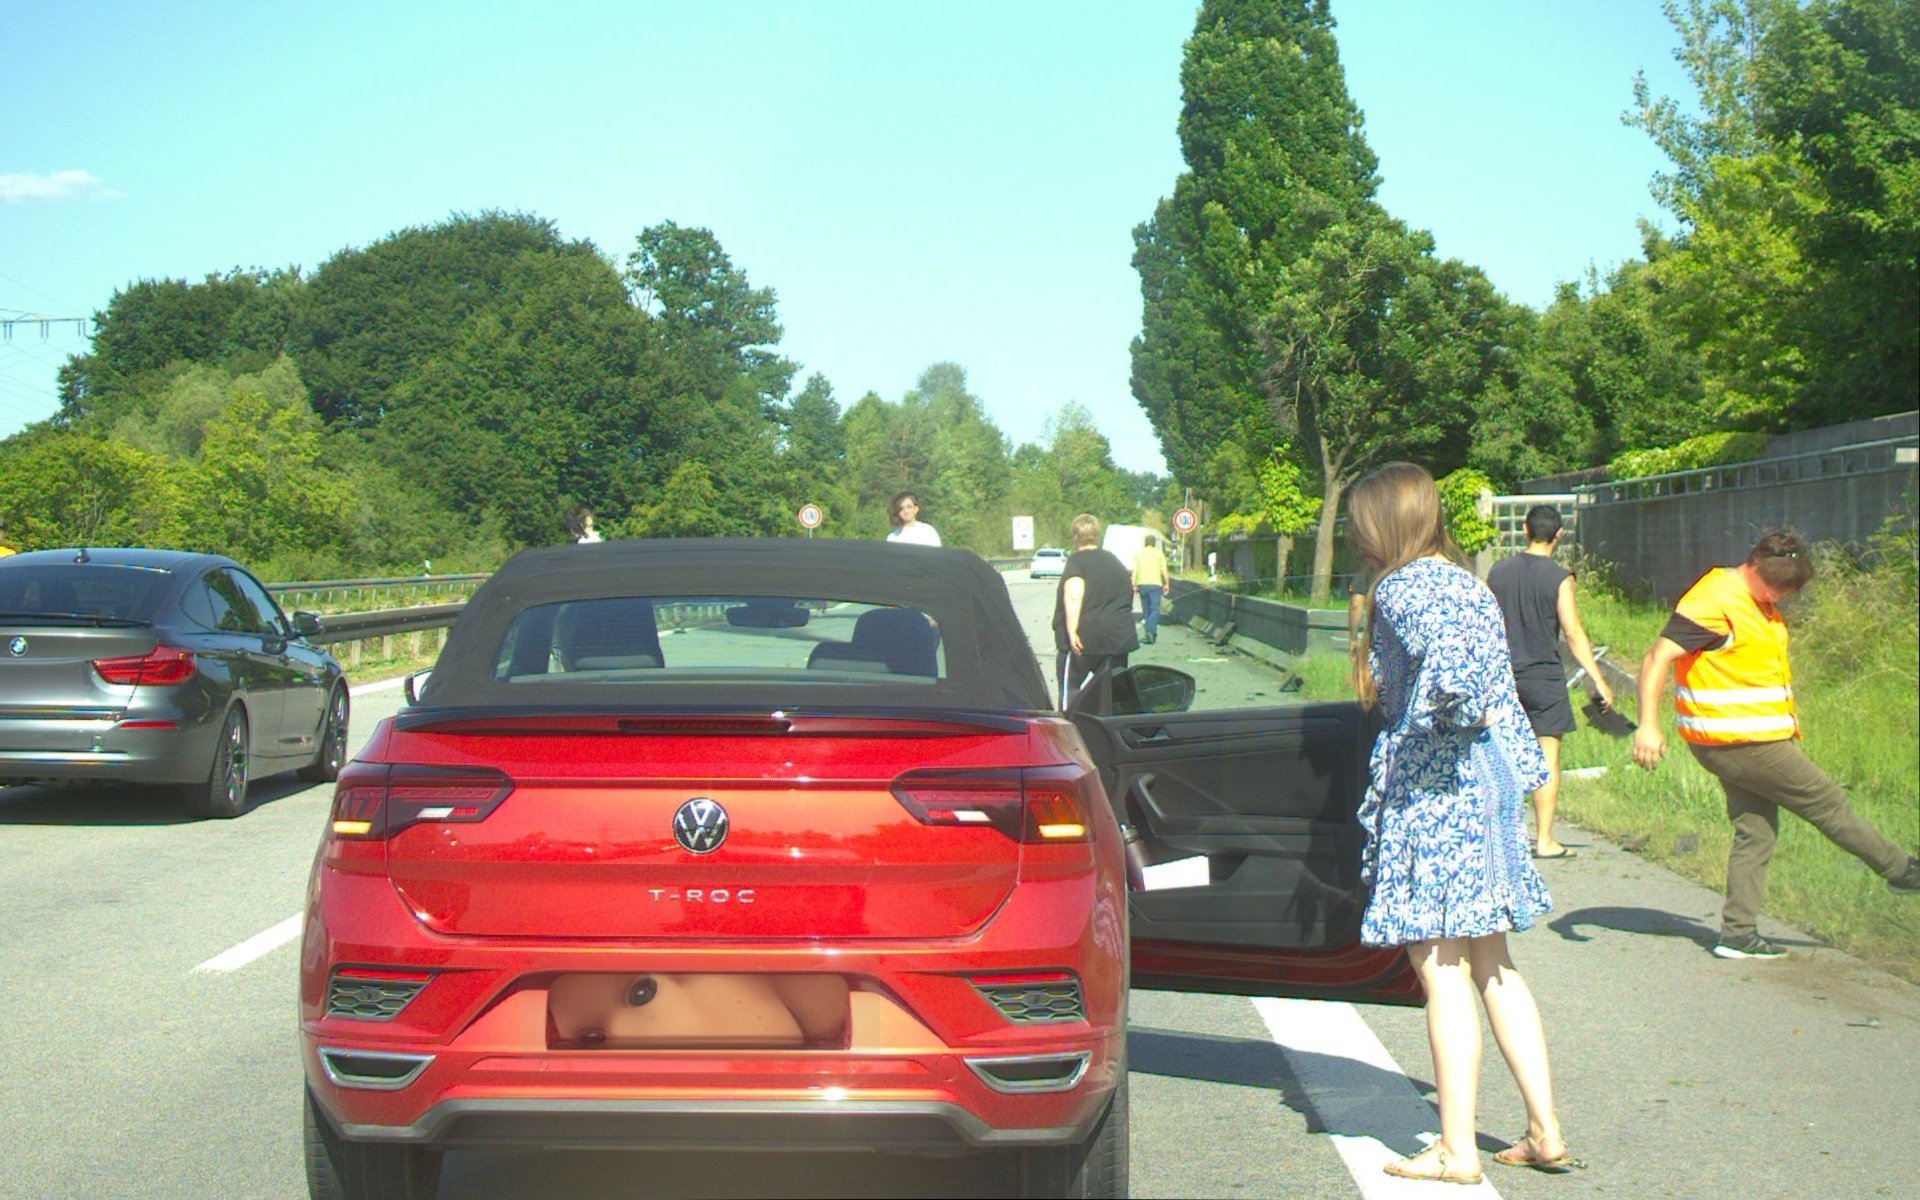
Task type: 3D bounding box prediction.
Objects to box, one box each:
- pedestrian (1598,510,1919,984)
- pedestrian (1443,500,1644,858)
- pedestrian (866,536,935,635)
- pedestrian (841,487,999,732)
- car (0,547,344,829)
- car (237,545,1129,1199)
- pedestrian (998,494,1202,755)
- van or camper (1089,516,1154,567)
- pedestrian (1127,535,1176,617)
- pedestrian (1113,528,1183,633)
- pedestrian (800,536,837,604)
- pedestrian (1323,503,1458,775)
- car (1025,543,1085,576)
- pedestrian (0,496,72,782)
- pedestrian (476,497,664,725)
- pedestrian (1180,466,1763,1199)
[{"bbox_3d":[3.008,0.506,12.517,1.275,1.648,0.960,-1,1,14],"label":"pedestrian"},{"bbox_3d":[2.873,0.378,17.001,0.895,1.719,0.754,1,0,5],"label":"pedestrian"},{"bbox_3d":[-1.029,-0.261,59.379,0.970,1.683,1.117,1,0,-13],"label":"pedestrian"},{"bbox_3d":[-0.334,0.060,27.598,1.105,1.906,1.257,-1,1,-7],"label":"pedestrian"},{"bbox_3d":[-4.804,0.420,19.849,1.694,1.421,4.334,1,1,0],"label":"car"},{"bbox_3d":[-0.534,0.615,8.821,1.732,1.482,4.210,1,1,0],"label":"car"},{"bbox_3d":[1.034,0.162,25.510,1.090,1.876,1.069,-1,1,-29],"label":"pedestrian"},{"bbox_3d":[7.572,-2.714,160.940,1.995,2.308,4.467,1,1,17],"label":"van or camper"},{"bbox_3d":[3.977,-0.498,71.320,0.996,1.683,1.010,1,0,4],"label":"pedestrian"},{"bbox_3d":[3.087,-0.323,56.322,1.056,1.683,1.017,1,0,7],"label":"pedestrian"},{"bbox_3d":[-3.517,-0.742,85.336,0.792,1.683,0.792,1,0,5],"label":"pedestrian"},{"bbox_3d":[2.856,0.249,22.762,0.812,1.753,0.828,1,0,10],"label":"pedestrian"},{"bbox_3d":[4.494,-1.915,162.049,1.734,1.482,4.207,1,1,17],"label":"car"},{"bbox_3d":[-6.316,0.235,21.739,1.041,1.757,1.118,-1,1,3],"label":"pedestrian"},{"bbox_3d":[-3.134,0.078,27.579,1.088,1.782,1.107,0,1,-34],"label":"pedestrian"},{"bbox_3d":[1.180,0.546,8.124,0.889,1.689,1.129,-1,1,-22],"label":"pedestrian"}]
